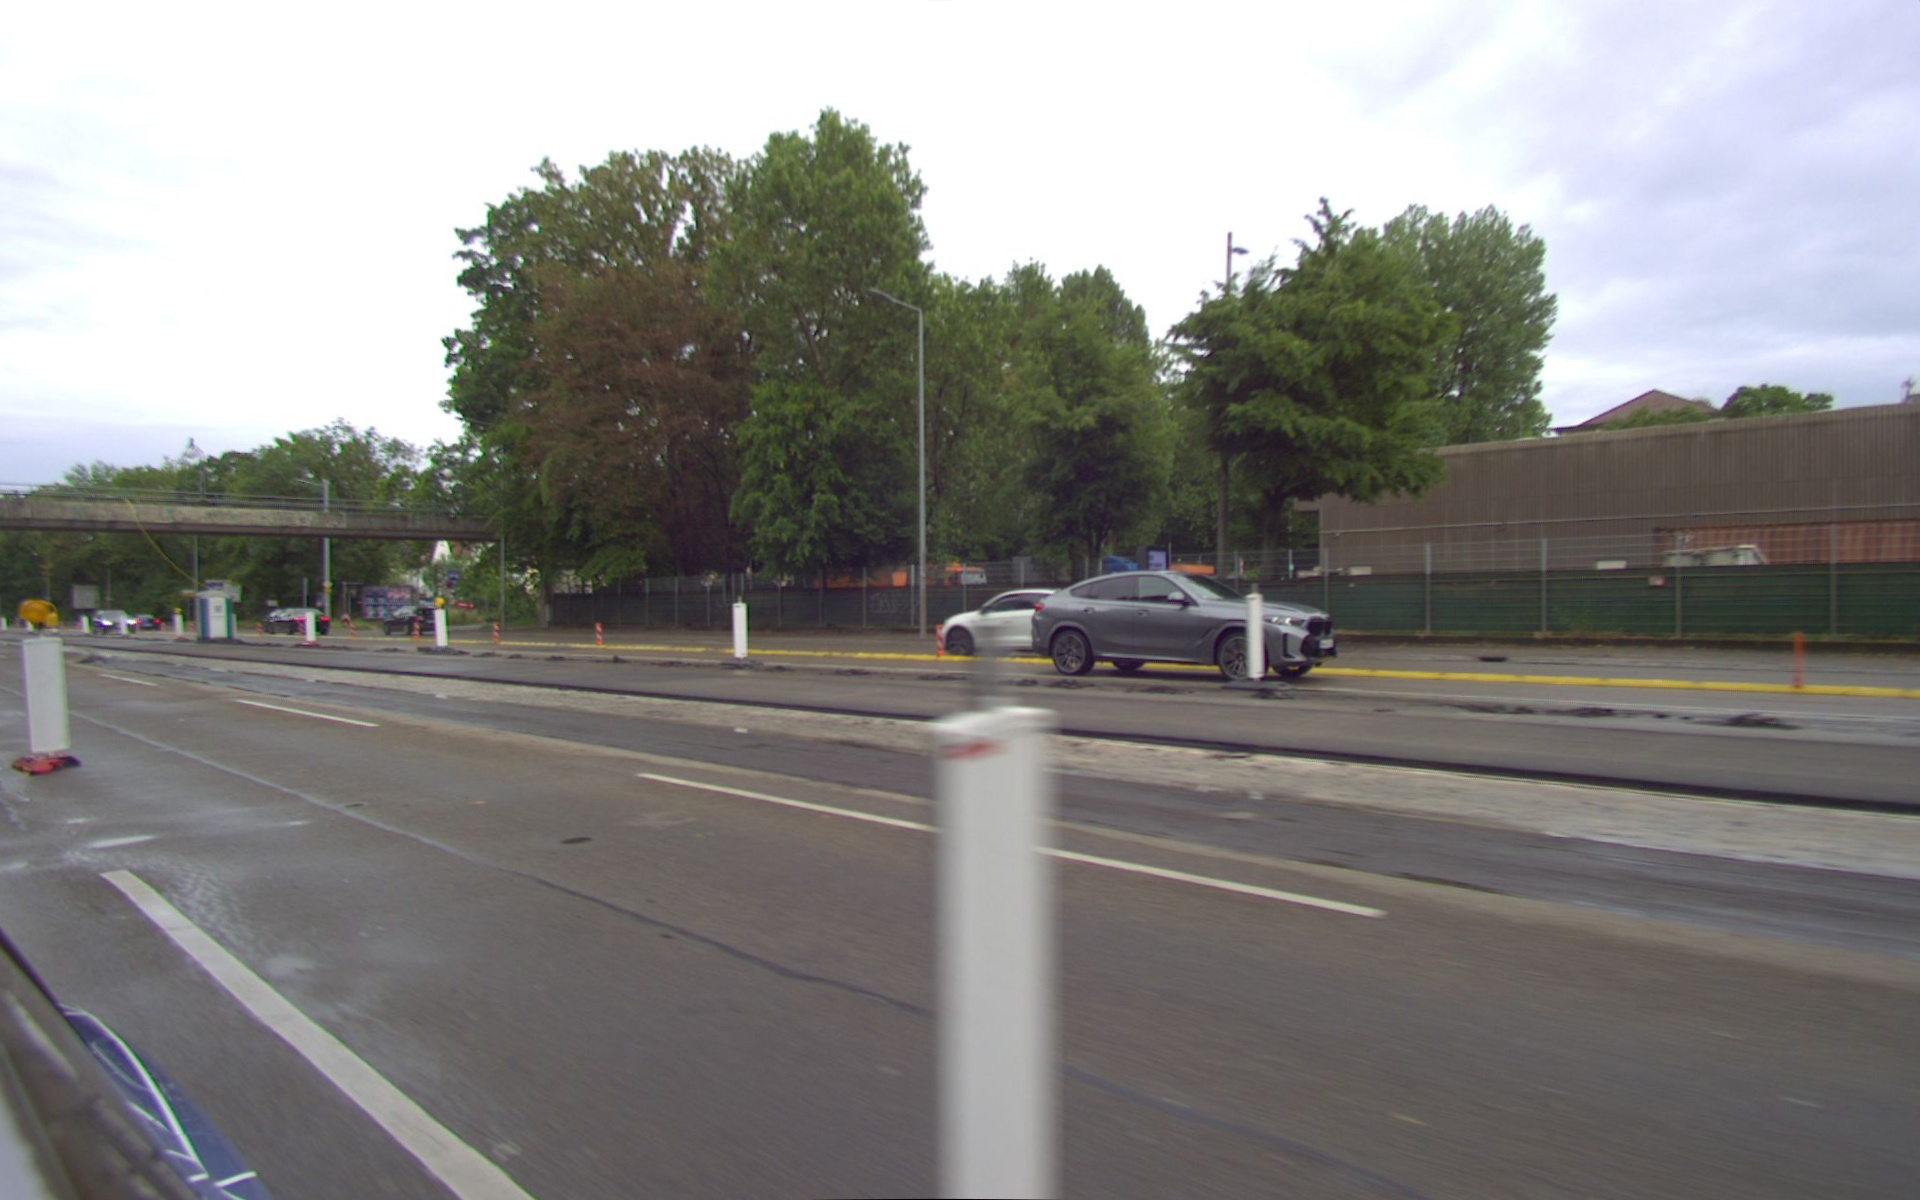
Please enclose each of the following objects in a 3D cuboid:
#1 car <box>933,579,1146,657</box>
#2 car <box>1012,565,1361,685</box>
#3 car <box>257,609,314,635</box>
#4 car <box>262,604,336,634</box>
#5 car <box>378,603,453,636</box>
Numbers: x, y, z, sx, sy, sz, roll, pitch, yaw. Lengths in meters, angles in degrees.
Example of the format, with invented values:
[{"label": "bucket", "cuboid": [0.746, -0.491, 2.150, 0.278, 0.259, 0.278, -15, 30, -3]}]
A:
[{"label": "car", "cuboid": [1.653, 0.370, 21.901, 4.264, 1.524, 1.973, -1, 0, 41]}, {"label": "car", "cuboid": [3.451, 0.334, 16.076, 5.053, 1.625, 2.055, -1, 1, 41]}, {"label": "car", "cuboid": [-42.557, 1.351, 63.813, 4.566, 1.358, 1.972, 2, 2, 43]}, {"label": "car", "cuboid": [-35.884, 1.046, 54.856, 5.087, 1.524, 2.056, -2, 0, 41]}, {"label": "car", "cuboid": [-27.739, 0.978, 51.517, 4.303, 1.529, 1.973, -1, 1, 41]}]
